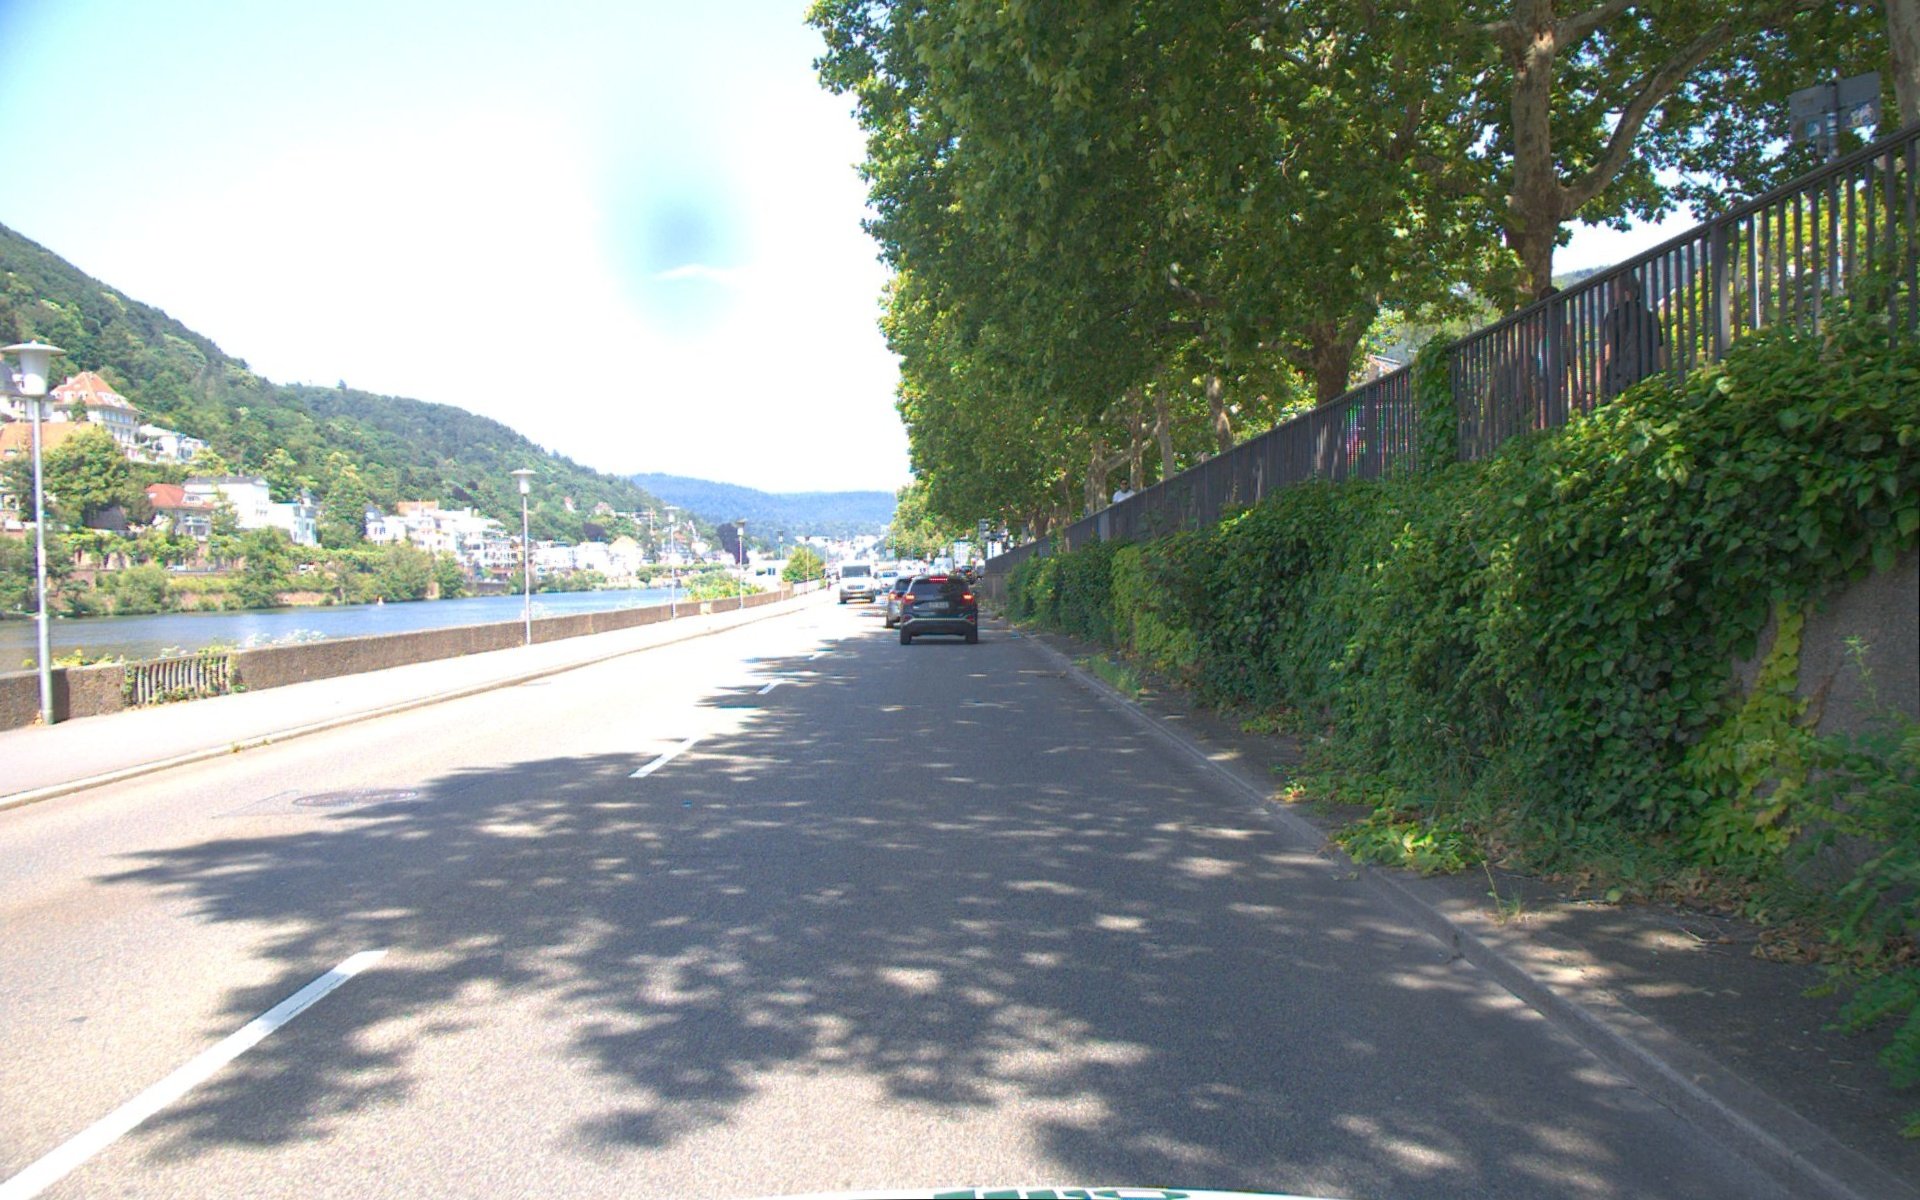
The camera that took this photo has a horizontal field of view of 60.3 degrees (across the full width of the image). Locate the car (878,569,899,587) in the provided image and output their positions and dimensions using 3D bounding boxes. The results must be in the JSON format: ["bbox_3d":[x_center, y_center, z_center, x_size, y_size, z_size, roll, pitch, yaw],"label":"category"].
[{"bbox_3d":[-6.156,-1.888,142.885,1.697,1.467,4.044,-3,1,-2],"label":"car"}]

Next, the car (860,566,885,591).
[{"bbox_3d":[-6.427,-1.578,121.771,1.697,1.678,4.176,-3,1,-2],"label":"car"}]

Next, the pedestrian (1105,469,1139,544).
[{"bbox_3d":[3.603,-2.073,36.829,0.651,1.619,0.650,-2,1,-2],"label":"pedestrian"}]

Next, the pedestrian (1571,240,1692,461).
[{"bbox_3d":[5.336,-1.968,13.163,0.635,1.668,0.625,-2,1,-9],"label":"pedestrian"}]

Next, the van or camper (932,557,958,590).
[{"bbox_3d":[-1.362,-2.438,152.261,2.262,2.897,4.246,-1,1,0],"label":"van or camper"}]

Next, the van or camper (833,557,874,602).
[{"bbox_3d":[-6.059,-1.176,94.459,2.035,2.440,5.384,-1,1,-1],"label":"van or camper"}]

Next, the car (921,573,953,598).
[{"bbox_3d":[-1.414,-0.891,100.115,1.791,1.469,3.999,-2,1,-2],"label":"car"}]

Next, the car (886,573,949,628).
[{"bbox_3d":[-1.274,-0.008,49.001,1.791,1.537,3.999,0,1,-2],"label":"car"}]

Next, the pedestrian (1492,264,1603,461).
[{"bbox_3d":[4.562,-1.832,12.863,0.573,1.444,0.588,-2,1,-9],"label":"pedestrian"}]

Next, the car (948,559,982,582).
[{"bbox_3d":[0.502,-2.897,164.303,3.036,2.048,5.823,-4,1,-2],"label":"car"}]

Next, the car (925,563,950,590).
[{"bbox_3d":[-1.931,-1.988,139.307,1.953,2.207,3.999,-1,1,-2],"label":"car"}]

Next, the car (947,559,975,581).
[{"bbox_3d":[0.060,-3.172,174.909,2.608,2.048,5.823,-4,1,-2],"label":"car"}]

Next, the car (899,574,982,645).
[{"bbox_3d":[-0.479,0.178,38.006,1.791,1.512,3.999,0,1,-2],"label":"car"}]
